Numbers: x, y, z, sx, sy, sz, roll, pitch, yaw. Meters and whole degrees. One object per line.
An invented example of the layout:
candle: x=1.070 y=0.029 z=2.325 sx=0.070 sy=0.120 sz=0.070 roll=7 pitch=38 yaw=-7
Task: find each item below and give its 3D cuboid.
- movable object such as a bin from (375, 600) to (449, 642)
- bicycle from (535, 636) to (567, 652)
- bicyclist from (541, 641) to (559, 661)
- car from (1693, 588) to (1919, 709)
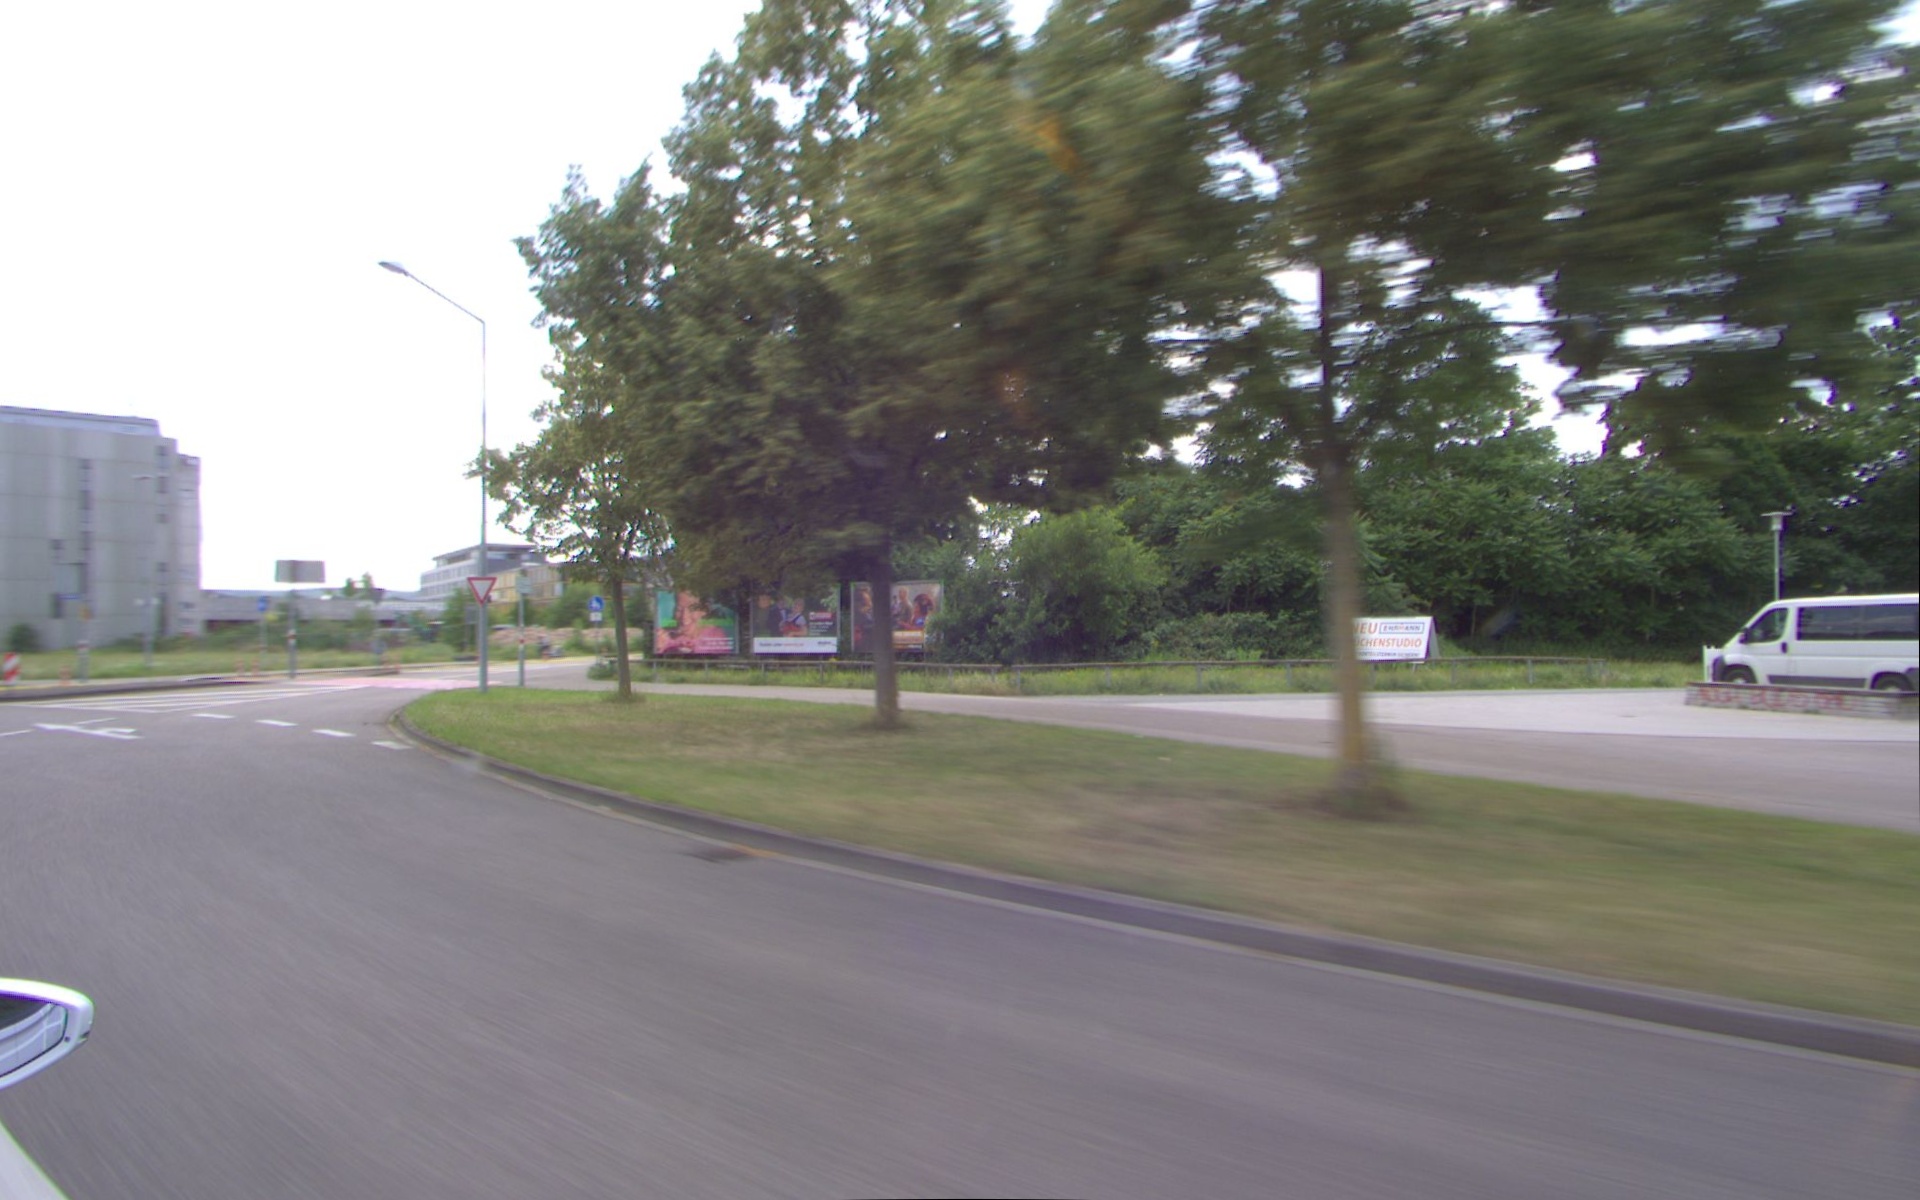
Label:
movable object such as a bin: x=-55.249 y=2.164 z=101.206 sx=2.989 sy=3.899 sz=7.625 roll=0 pitch=-4 yaw=3
bicycle: x=-27.652 y=2.967 z=67.711 sx=0.859 sy=1.030 sz=2.546 roll=0 pitch=-4 yaw=7
bicyclist: x=-27.660 y=3.457 z=67.542 sx=0.859 sy=1.341 sz=0.813 roll=0 pitch=-3 yaw=7
car: x=17.987 y=0.959 z=20.179 sx=2.109 sy=2.175 sz=5.150 roll=1 pitch=-2 yaw=-11
